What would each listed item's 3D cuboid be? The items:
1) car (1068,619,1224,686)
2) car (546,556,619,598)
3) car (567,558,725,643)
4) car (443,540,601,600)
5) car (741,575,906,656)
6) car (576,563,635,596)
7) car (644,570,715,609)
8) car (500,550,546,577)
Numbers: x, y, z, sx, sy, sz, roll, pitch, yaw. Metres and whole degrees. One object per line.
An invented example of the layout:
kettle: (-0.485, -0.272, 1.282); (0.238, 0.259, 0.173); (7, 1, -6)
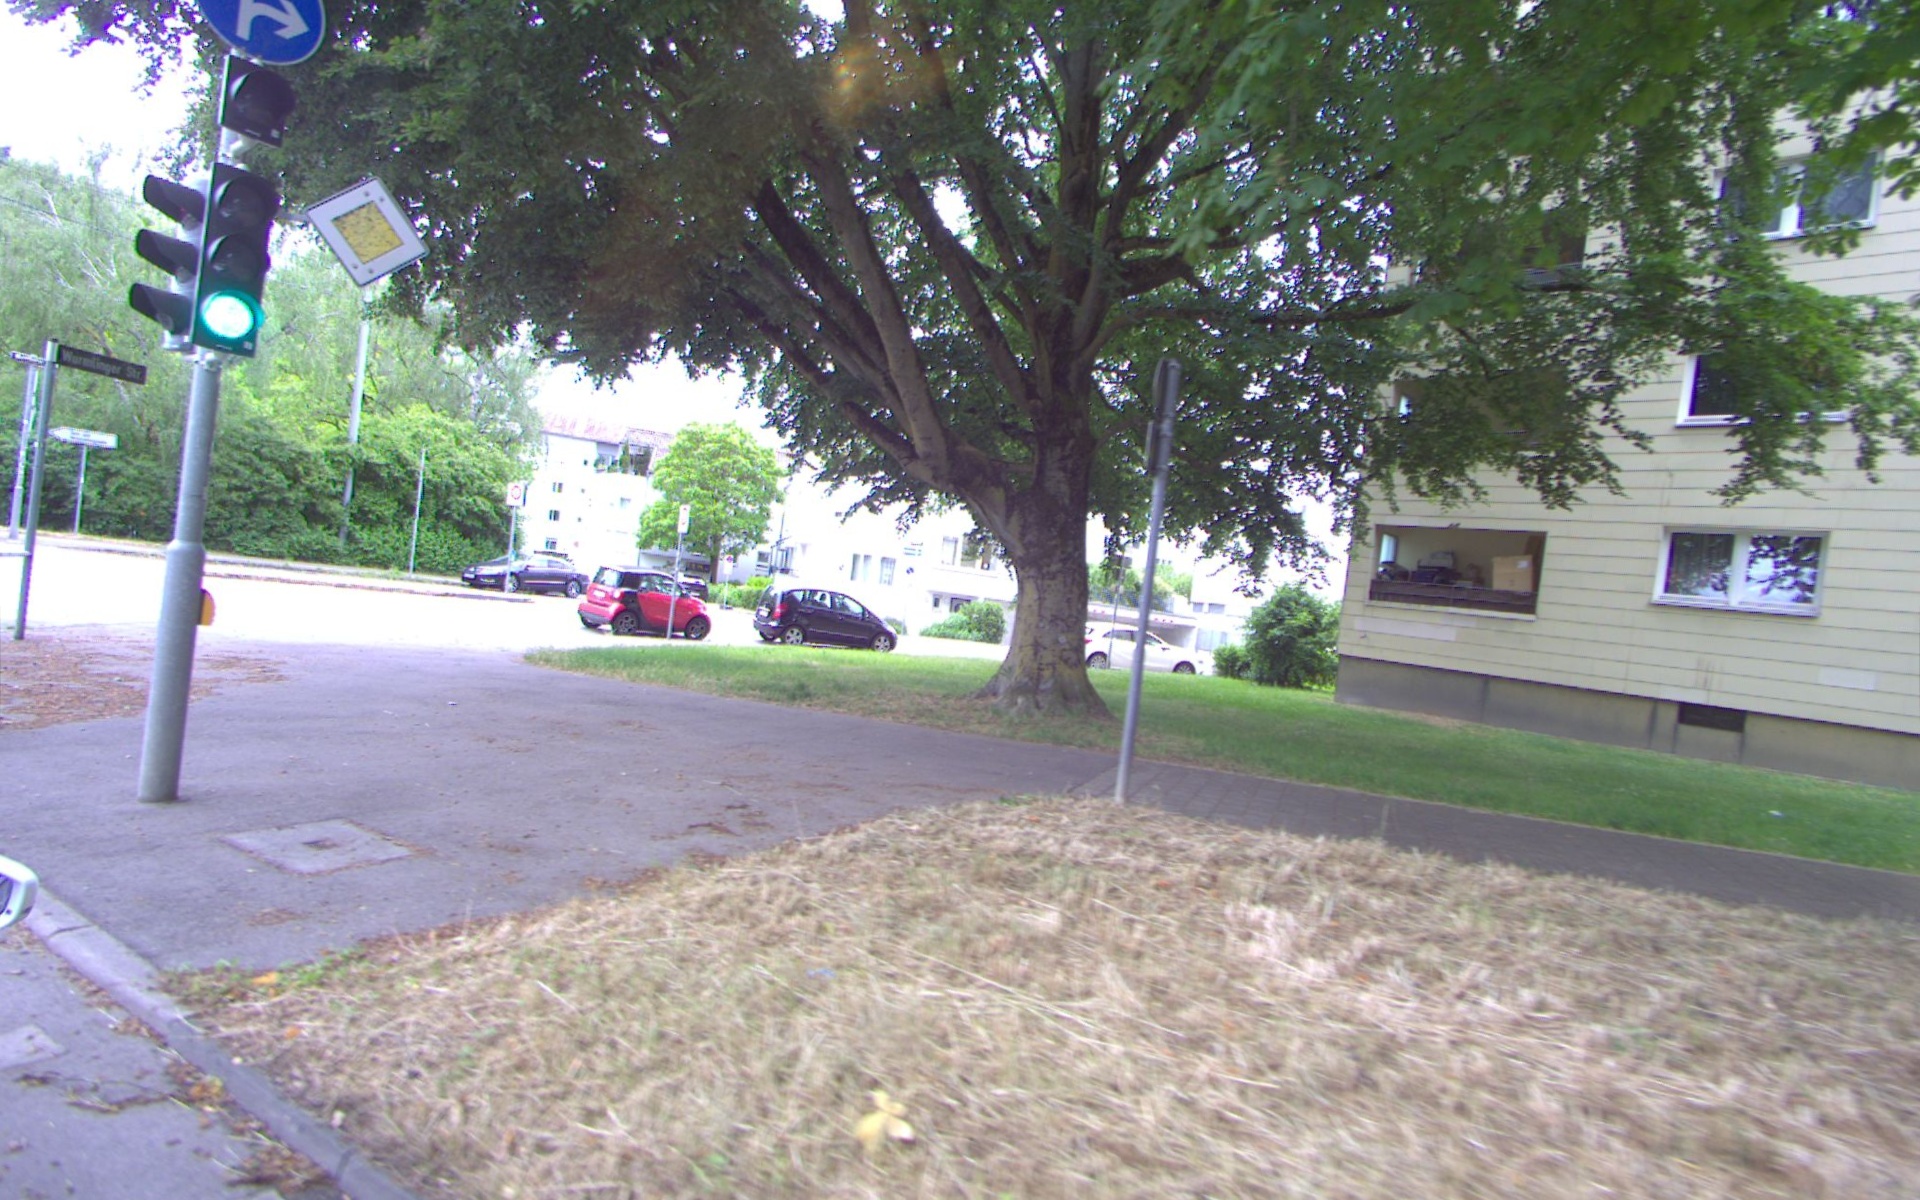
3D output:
car: (5.408, 1.525, 29.444); (4.004, 1.452, 1.790); (6, 1, -12)
car: (-16.620, -1.025, 44.213); (1.795, 1.505, 3.628); (7, -1, -41)
car: (-7.240, 0.035, 23.346); (1.671, 1.524, 2.911); (8, 0, 39)
car: (-15.202, -0.999, 35.215); (2.003, 1.456, 4.794); (7, 0, 28)
car: (-3.578, 0.408, 26.463); (3.786, 1.610, 1.804); (8, -1, -31)
car: (-20.998, -1.236, 59.531); (1.920, 1.563, 4.020); (7, -1, -39)
car: (-14.371, -0.549, 51.429); (1.920, 1.563, 4.020); (7, -1, -39)
car: (-31.713, -2.648, 72.913); (1.920, 1.563, 4.020); (7, -1, -39)
